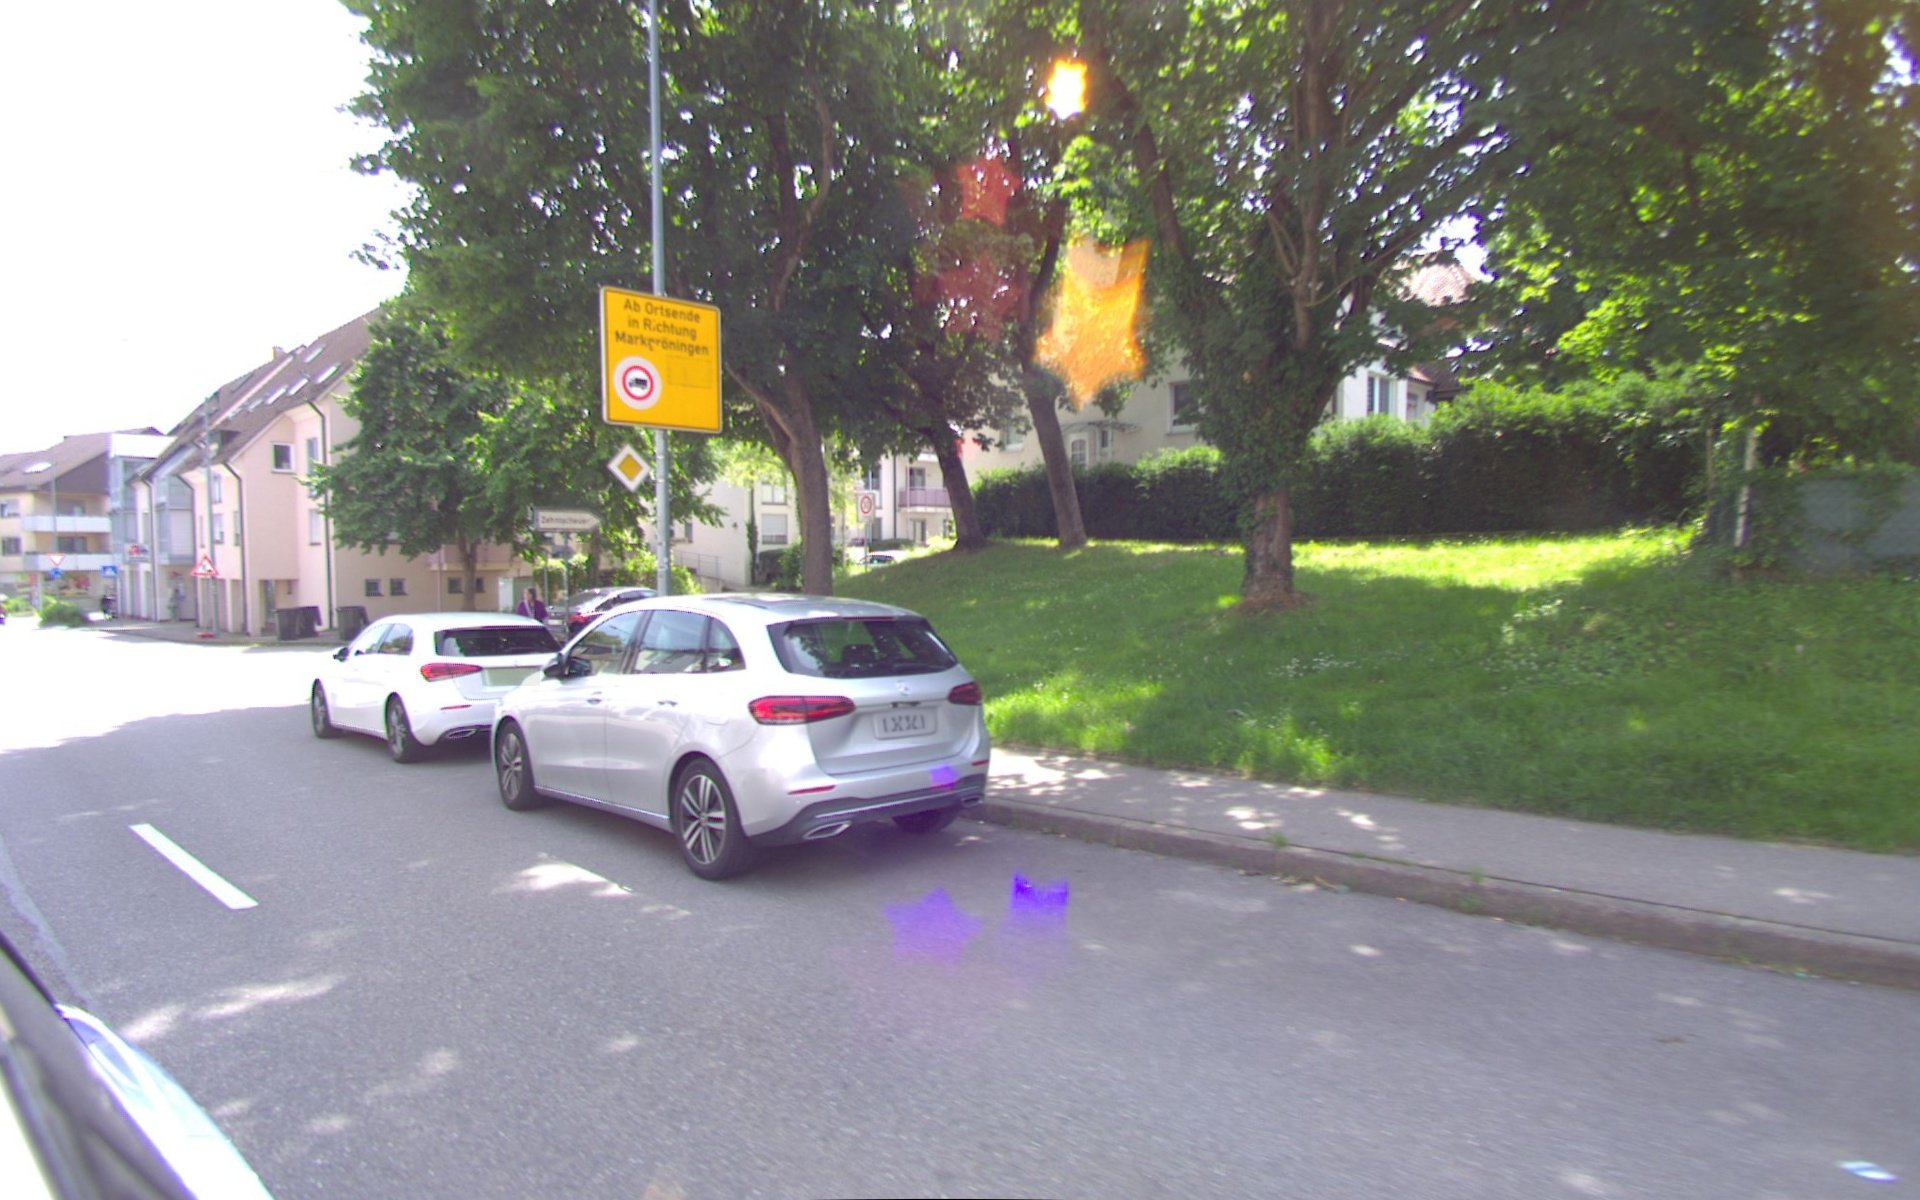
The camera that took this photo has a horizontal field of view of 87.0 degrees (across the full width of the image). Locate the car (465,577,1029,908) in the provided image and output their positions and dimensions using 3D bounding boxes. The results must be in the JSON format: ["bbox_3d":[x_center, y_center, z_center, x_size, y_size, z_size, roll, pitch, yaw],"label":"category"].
[{"bbox_3d":[-1.692,0.681,6.845,1.752,1.539,4.224,0,0,-44],"label":"car"}]

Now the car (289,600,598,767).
[{"bbox_3d":[-5.826,0.763,11.142,4.364,1.478,1.735,-1,0,44],"label":"car"}]

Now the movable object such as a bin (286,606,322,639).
[{"bbox_3d":[-21.656,0.749,33.414,0.791,1.007,0.806,-5,4,-43],"label":"movable object such as a bin"}]

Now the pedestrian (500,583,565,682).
[{"bbox_3d":[-7.323,0.538,17.365,0.626,1.628,0.726,-1,2,25],"label":"pedestrian"}]

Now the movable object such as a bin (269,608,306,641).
[{"bbox_3d":[-21.856,0.800,32.891,0.841,1.008,0.694,-3,2,-43],"label":"movable object such as a bin"}]

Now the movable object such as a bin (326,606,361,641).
[{"bbox_3d":[-19.743,0.750,32.411,0.763,1.007,0.610,-8,7,-43],"label":"movable object such as a bin"}]

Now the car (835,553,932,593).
[{"bbox_3d":[-3.380,-1.173,44.270,1.971,1.579,4.149,-3,2,-45],"label":"car"}]

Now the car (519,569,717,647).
[{"bbox_3d":[-8.611,0.134,25.967,1.989,1.490,4.751,-1,5,26],"label":"car"}]

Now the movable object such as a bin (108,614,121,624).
[{"bbox_3d":[-48.123,1.079,57.612,0.468,0.586,0.453,0,3,37],"label":"movable object such as a bin"}]

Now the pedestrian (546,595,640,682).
[{"bbox_3d":[-5.908,0.601,16.319,1.221,1.278,0.647,-5,3,-42],"label":"pedestrian"}]

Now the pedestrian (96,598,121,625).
[{"bbox_3d":[-48.551,0.647,57.701,0.955,1.489,0.792,0,3,37],"label":"pedestrian"}]

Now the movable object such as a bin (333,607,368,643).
[{"bbox_3d":[-19.196,0.776,31.893,0.762,1.007,0.610,-8,10,-42],"label":"movable object such as a bin"}]
